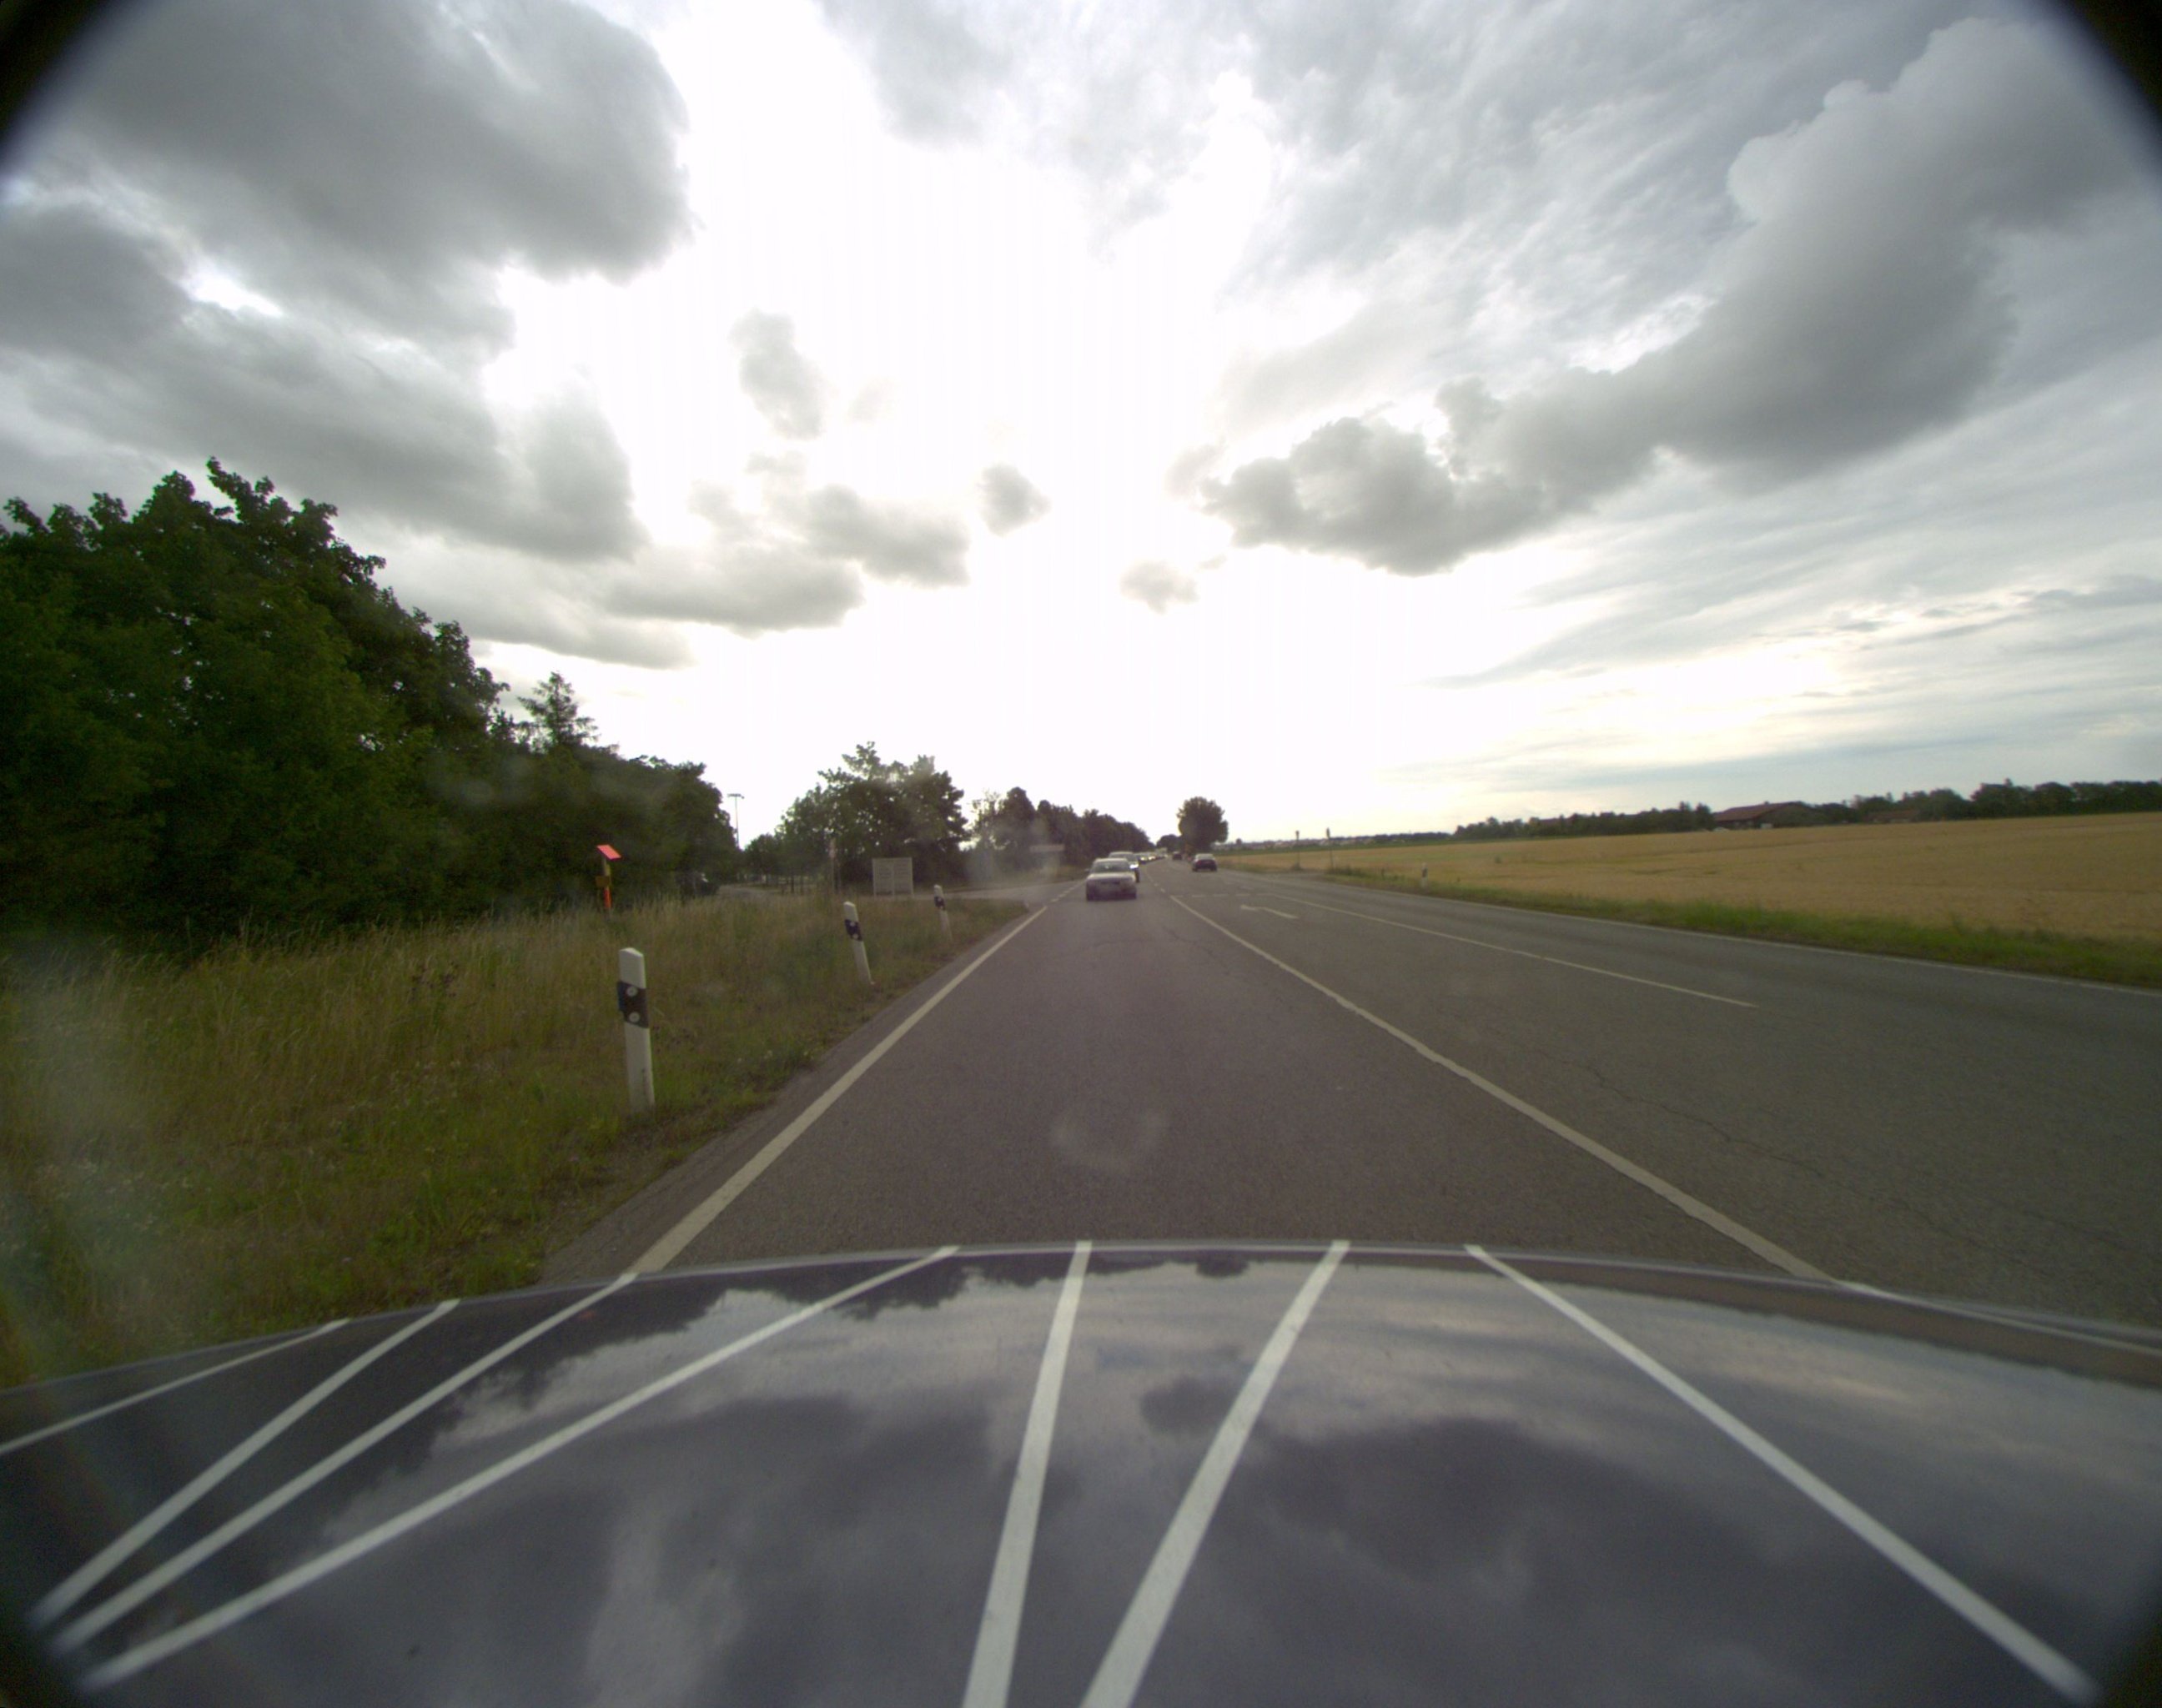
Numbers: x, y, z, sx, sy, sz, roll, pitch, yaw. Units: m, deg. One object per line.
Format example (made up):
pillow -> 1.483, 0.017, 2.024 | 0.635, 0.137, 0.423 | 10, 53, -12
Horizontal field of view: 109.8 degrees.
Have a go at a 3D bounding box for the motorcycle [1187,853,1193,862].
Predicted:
motorcycle -> 15.236, 0.467, 106.237 | 0.727, 1.142, 2.025 | -2, 0, 5

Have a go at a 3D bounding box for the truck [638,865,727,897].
truck -> -43.985, 2.956, 84.227 | 8.382, 3.092, 3.067 | -2, 1, -24

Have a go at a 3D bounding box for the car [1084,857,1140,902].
car -> 1.207, 0.871, 27.828 | 1.793, 1.415, 4.369 | -2, 0, 5

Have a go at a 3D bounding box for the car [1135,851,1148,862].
car -> 8.856, 0.356, 111.543 | 1.793, 1.573, 4.188 | -2, 0, 6

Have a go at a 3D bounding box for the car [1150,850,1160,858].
car -> 15.027, -0.094, 154.248 | 1.792, 1.573, 4.140 | -2, 0, 10

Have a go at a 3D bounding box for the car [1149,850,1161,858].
car -> 15.665, -0.090, 161.213 | 1.953, 1.573, 4.140 | -2, 0, 12

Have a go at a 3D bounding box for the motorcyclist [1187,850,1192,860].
motorcyclist -> 15.225, 0.089, 106.241 | 0.641, 1.376, 0.809 | -2, 1, 6

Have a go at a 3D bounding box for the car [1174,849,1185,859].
car -> 19.149, 0.002, 147.595 | 1.951, 1.684, 4.448 | -2, 0, 6

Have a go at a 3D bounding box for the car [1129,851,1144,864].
car -> 7.125, 0.419, 98.048 | 1.793, 1.573, 4.369 | -2, 0, 5

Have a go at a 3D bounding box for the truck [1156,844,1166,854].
truck -> 22.296, -1.327, 211.714 | 2.319, 2.749, 7.674 | -2, 0, 3

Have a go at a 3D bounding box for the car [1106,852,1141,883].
car -> 2.410, 0.706, 42.683 | 1.793, 1.573, 4.368 | -2, 0, 3

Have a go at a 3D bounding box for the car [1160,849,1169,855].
car -> 21.135, -0.576, 191.887 | 1.792, 1.531, 4.140 | -2, 0, 12

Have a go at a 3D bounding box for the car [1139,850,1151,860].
car -> 10.579, 0.192, 125.958 | 1.793, 1.573, 4.188 | -2, 0, 6

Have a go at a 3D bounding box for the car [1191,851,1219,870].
car -> 10.217, 0.516, 62.674 | 1.831, 1.402, 4.425 | -1, 0, 4
